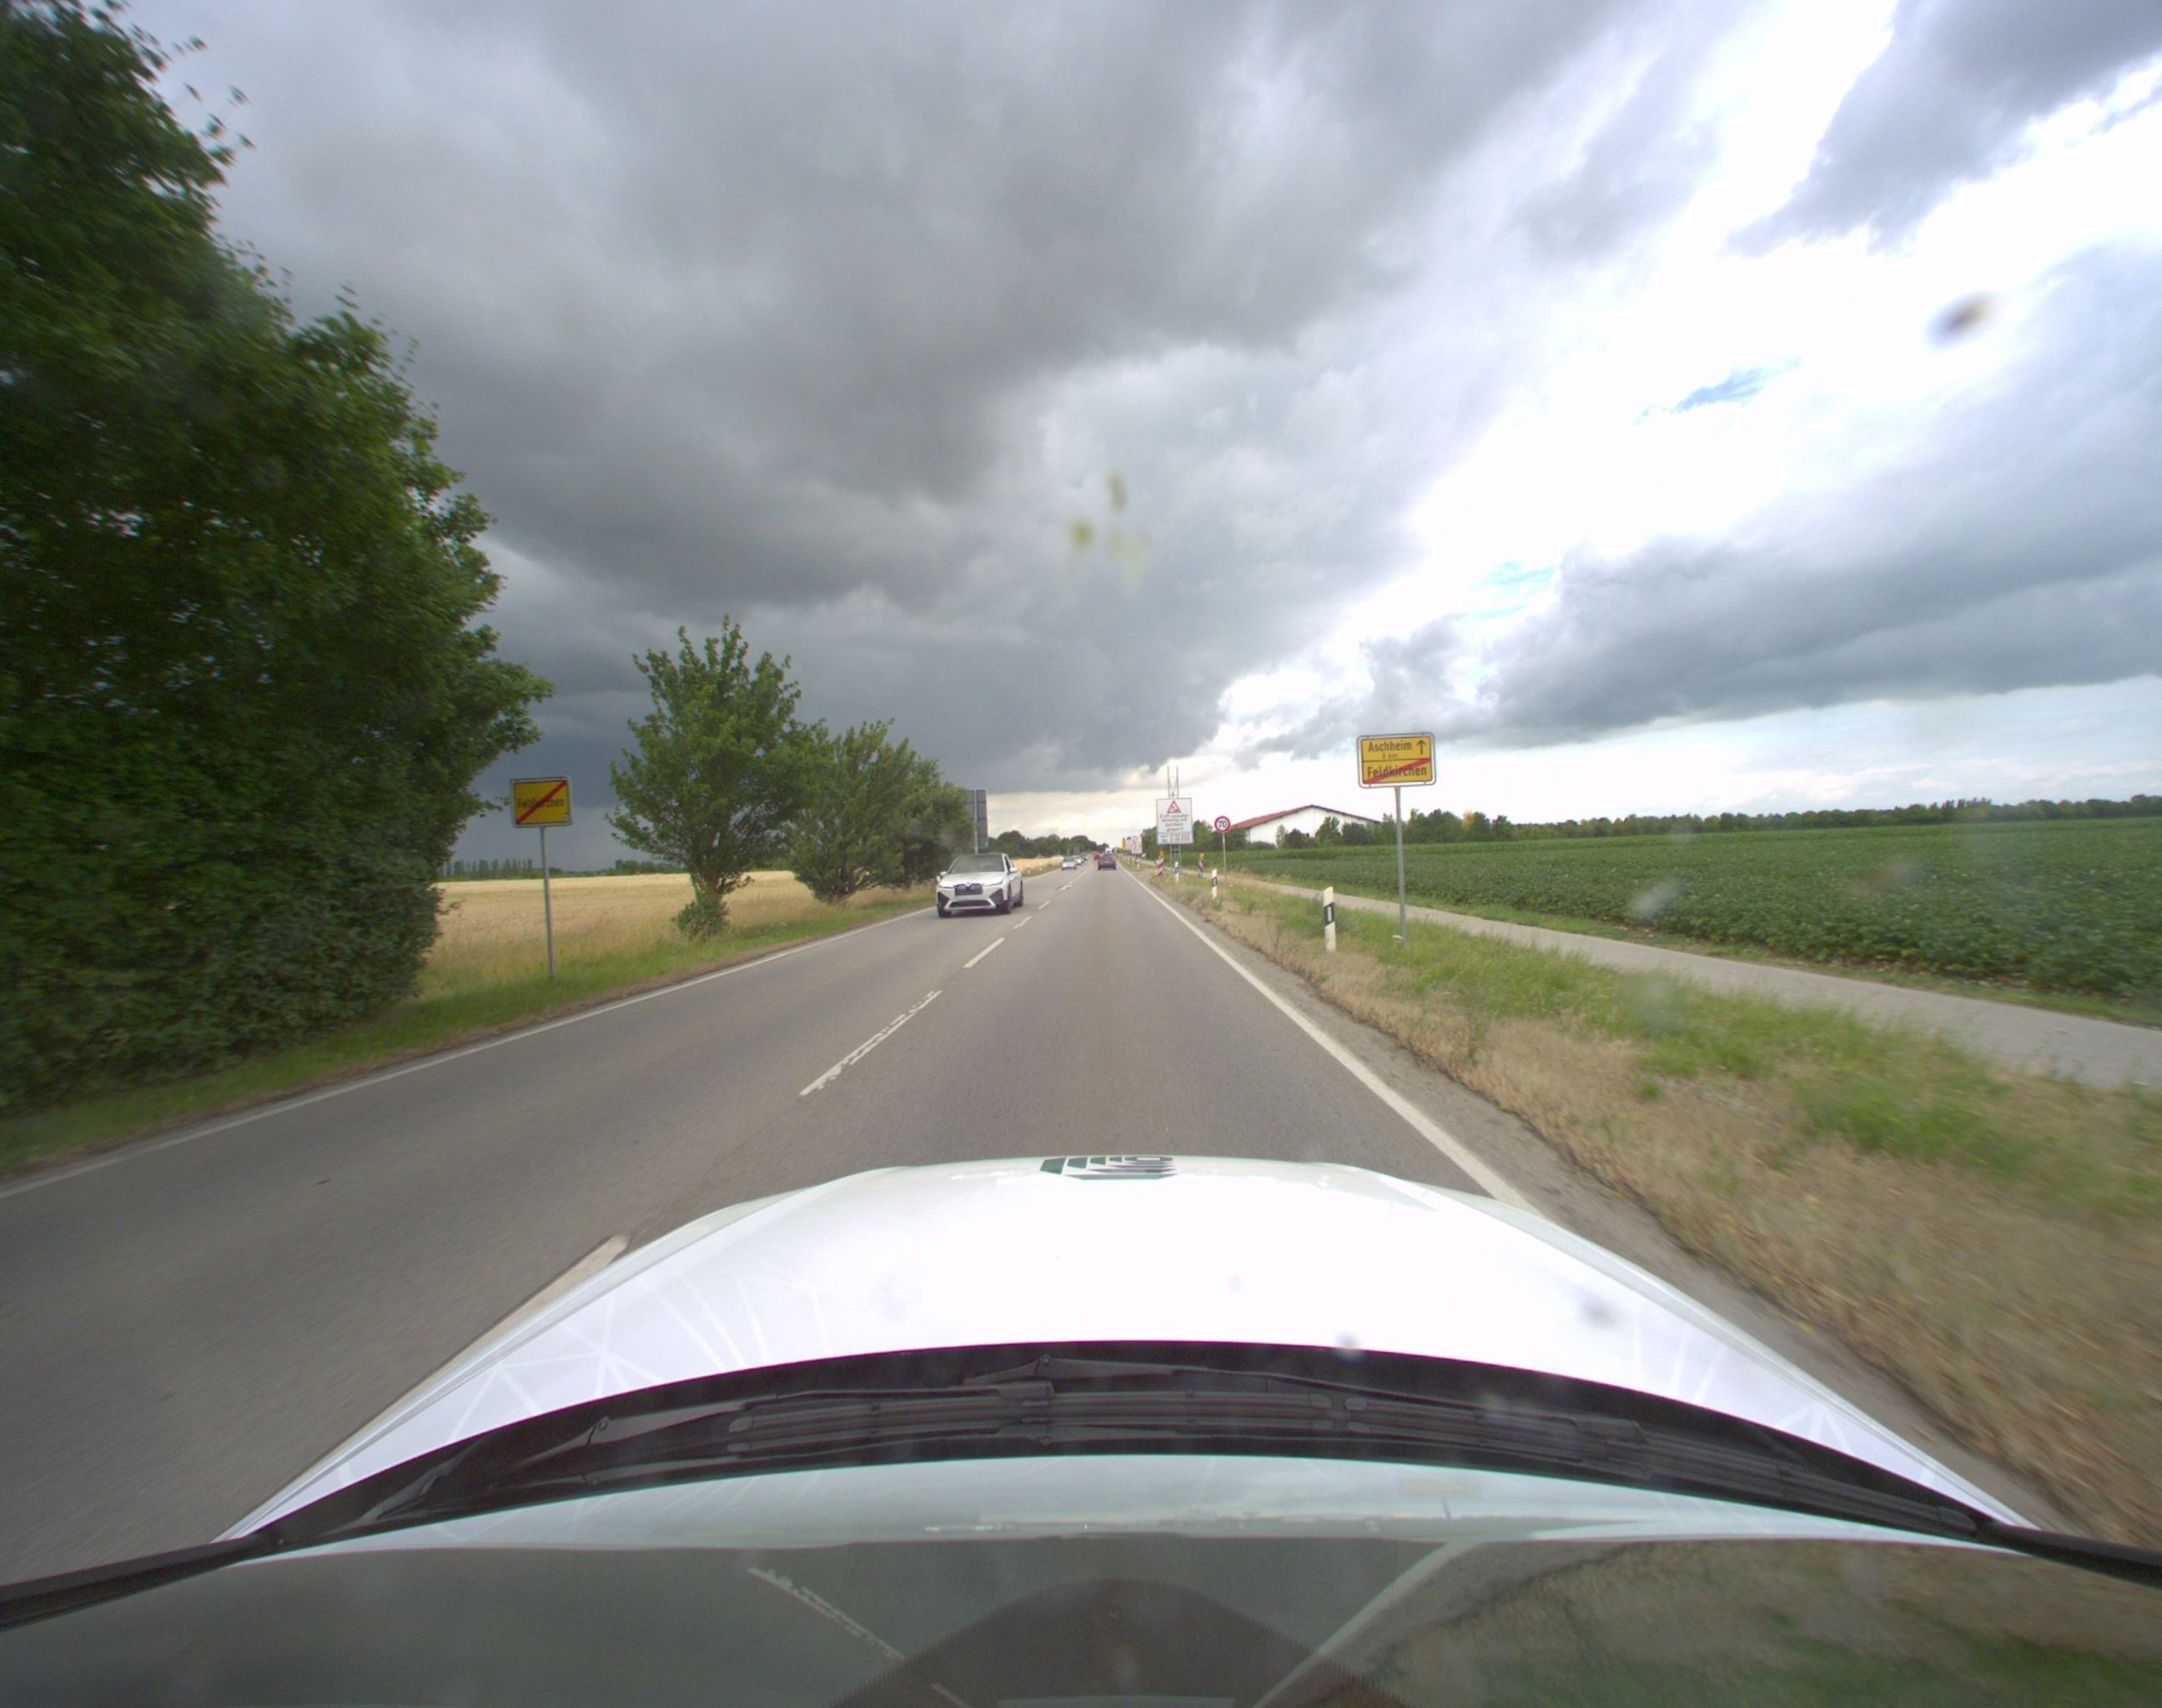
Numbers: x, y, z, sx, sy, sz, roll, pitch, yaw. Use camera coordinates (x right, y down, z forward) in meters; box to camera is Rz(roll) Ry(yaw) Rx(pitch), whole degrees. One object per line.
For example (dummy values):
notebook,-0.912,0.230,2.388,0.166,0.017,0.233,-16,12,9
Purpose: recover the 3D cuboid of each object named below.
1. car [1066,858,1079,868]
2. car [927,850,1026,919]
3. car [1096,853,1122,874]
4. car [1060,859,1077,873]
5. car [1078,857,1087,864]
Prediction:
car,-1.402,1.371,129.491,1.799,1.456,4.115,-3,0,2
car,-2.843,0.777,23.236,1.986,1.684,4.811,-3,0,2
car,2.800,0.984,82.314,2.365,1.880,4.476,-4,-1,-1
car,-1.368,1.339,92.060,1.722,1.363,3.951,-3,0,2
car,0.450,1.639,209.804,2.057,1.580,4.767,-4,0,2
